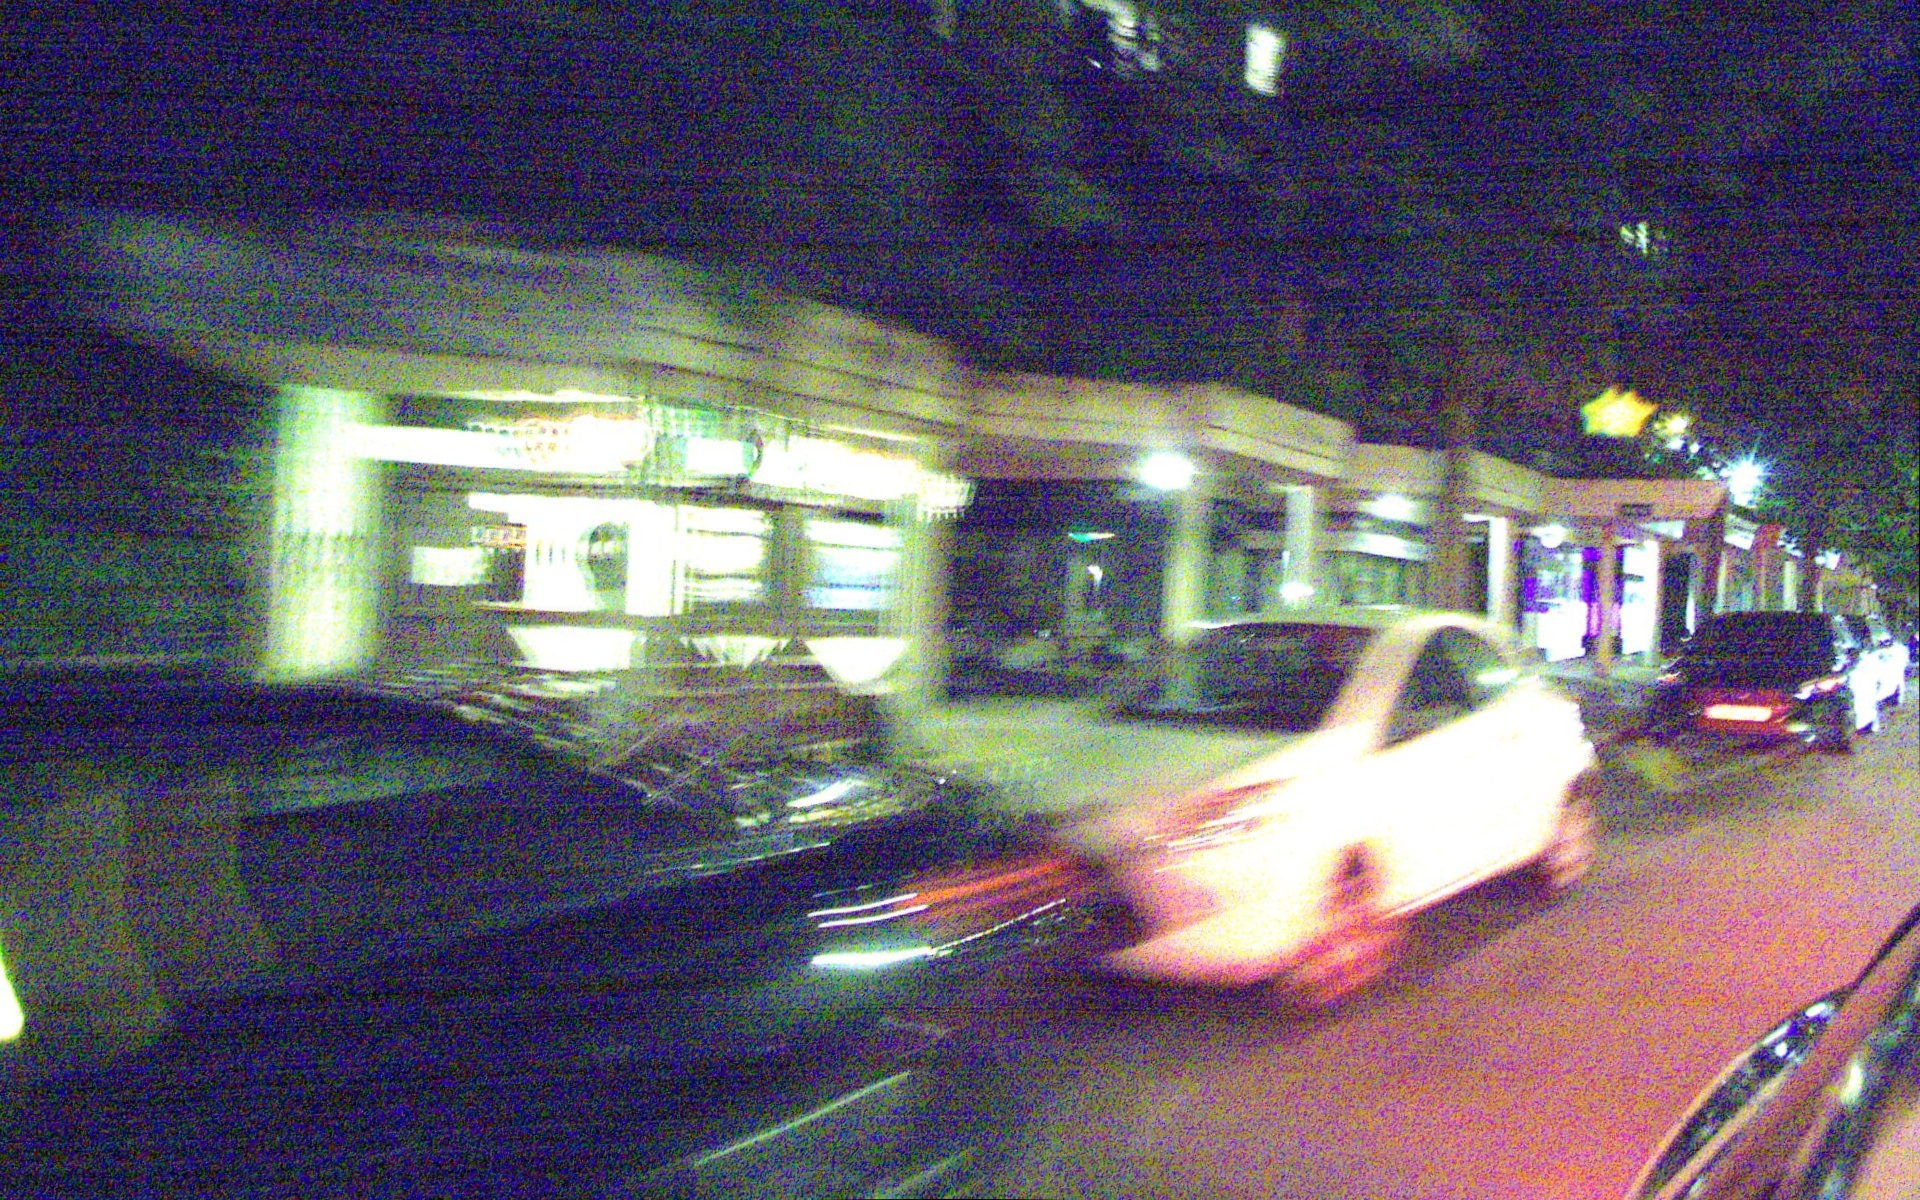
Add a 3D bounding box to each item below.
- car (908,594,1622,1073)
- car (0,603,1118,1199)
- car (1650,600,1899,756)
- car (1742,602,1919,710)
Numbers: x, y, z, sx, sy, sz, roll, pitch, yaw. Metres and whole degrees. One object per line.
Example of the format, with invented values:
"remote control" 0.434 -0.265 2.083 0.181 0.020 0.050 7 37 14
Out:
"car" 1.709 0.734 5.000 3.710 1.485 1.641 0 -1 -41
"car" -1.829 0.732 1.559 4.364 1.434 1.764 0 0 -42
"car" 9.407 0.739 11.576 3.932 1.465 1.678 0 0 -43
"car" 13.186 0.750 15.226 3.456 1.416 1.602 0 0 -41
